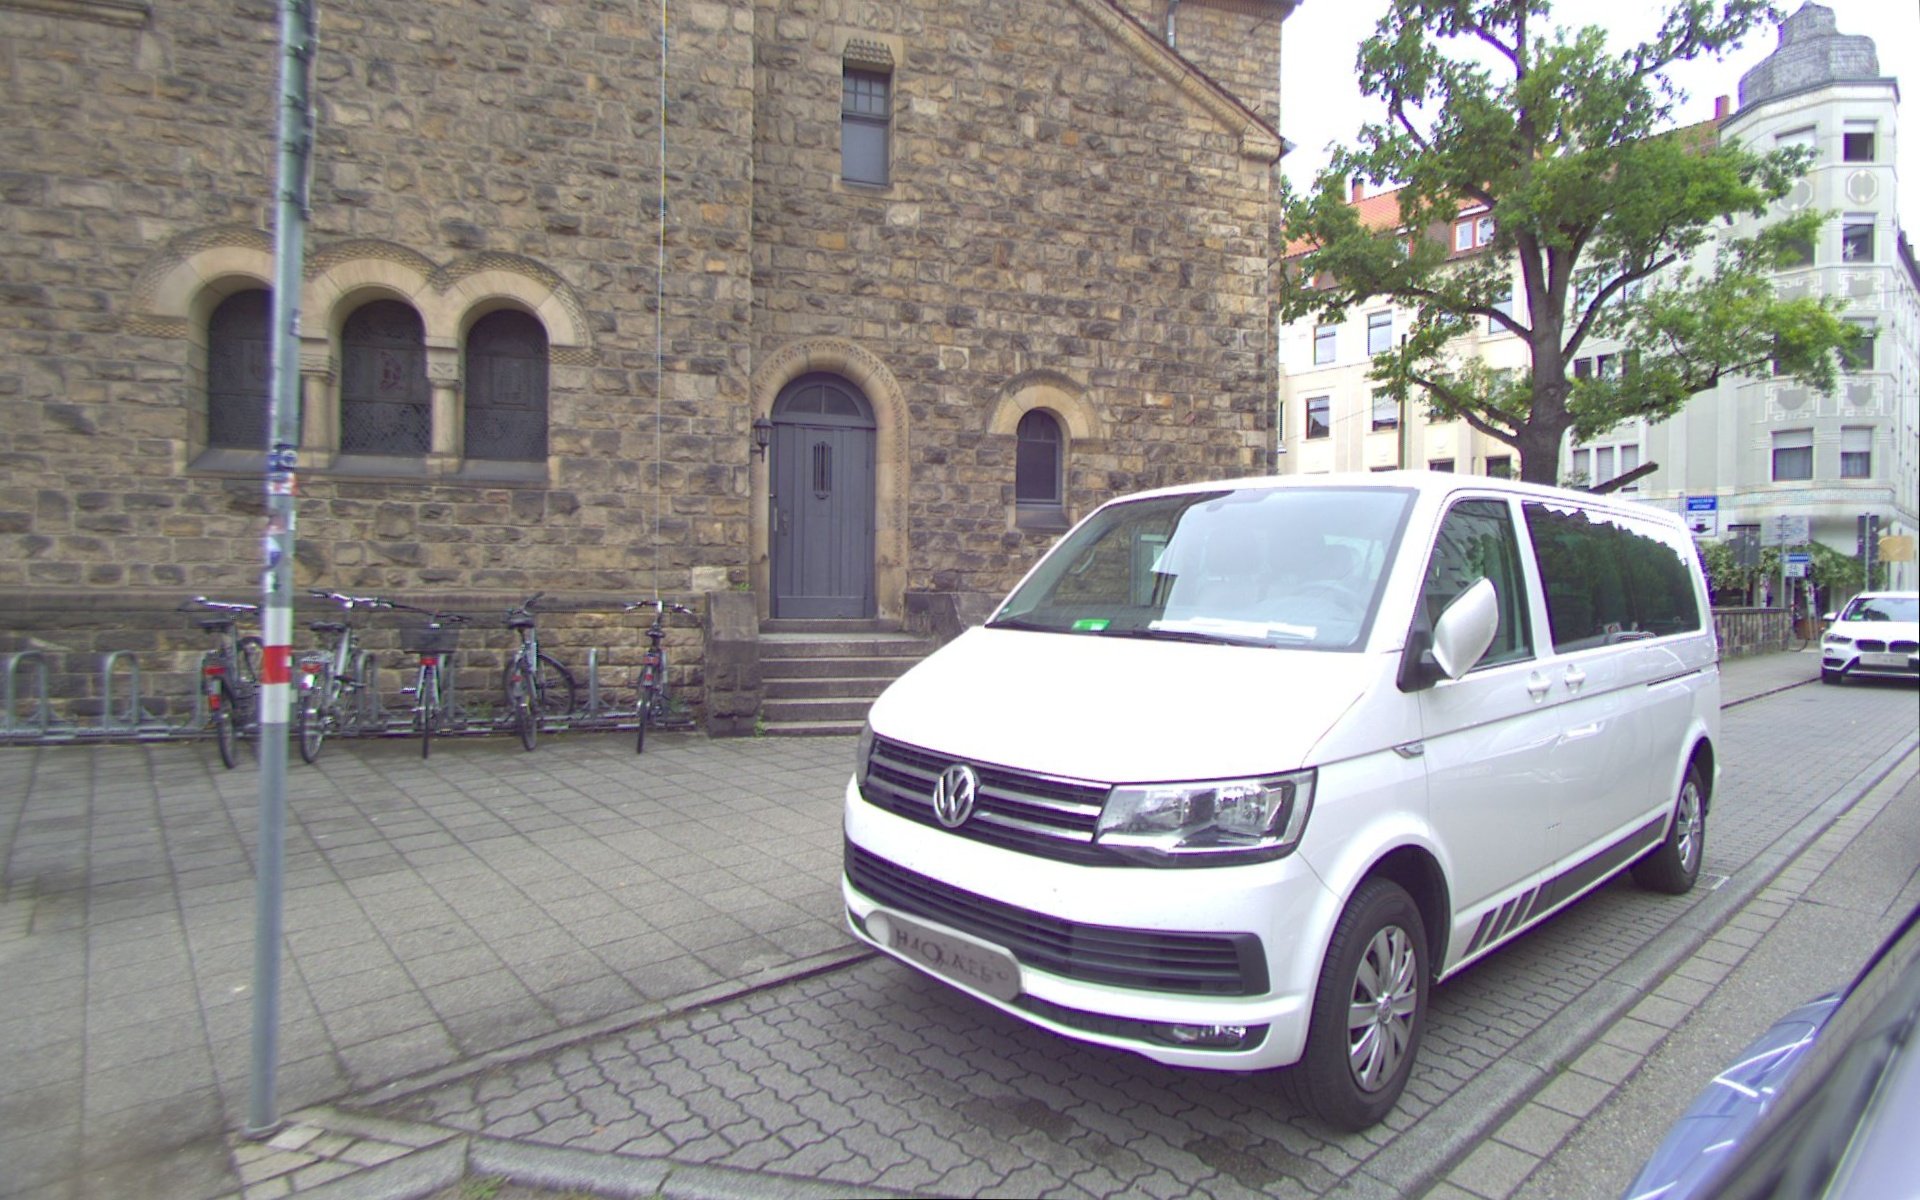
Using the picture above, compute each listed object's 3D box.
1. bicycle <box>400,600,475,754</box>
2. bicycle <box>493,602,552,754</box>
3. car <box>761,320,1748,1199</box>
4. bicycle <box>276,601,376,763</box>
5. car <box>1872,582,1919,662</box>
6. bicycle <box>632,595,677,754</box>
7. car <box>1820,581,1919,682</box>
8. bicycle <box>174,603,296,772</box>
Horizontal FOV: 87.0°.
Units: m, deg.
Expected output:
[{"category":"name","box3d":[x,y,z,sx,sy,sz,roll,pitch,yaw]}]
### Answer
[{"category":"bicycle","box3d":[-4.047,0.545,7.888,0.304,1.073,1.386,0,0,-18]},{"category":"bicycle","box3d":[-3.438,0.568,7.994,0.304,1.073,1.346,0,0,-18]},{"category":"car","box3d":[1.803,0.378,4.470,5.075,1.944,1.807,0,1,-42]},{"category":"bicycle","box3d":[-4.693,0.559,7.550,0.304,1.073,1.386,0,0,-18]},{"category":"car","box3d":[20.734,0.443,21.286,3.930,1.585,1.818,0,1,-41]},{"category":"bicycle","box3d":[-2.464,0.544,8.122,0.304,1.161,1.346,0,0,-18]},{"category":"car","box3d":[16.319,0.490,17.349,3.930,1.585,1.818,0,1,-41]},{"category":"bicycle","box3d":[-5.150,0.570,7.251,0.304,1.073,1.386,0,0,-18]}]
